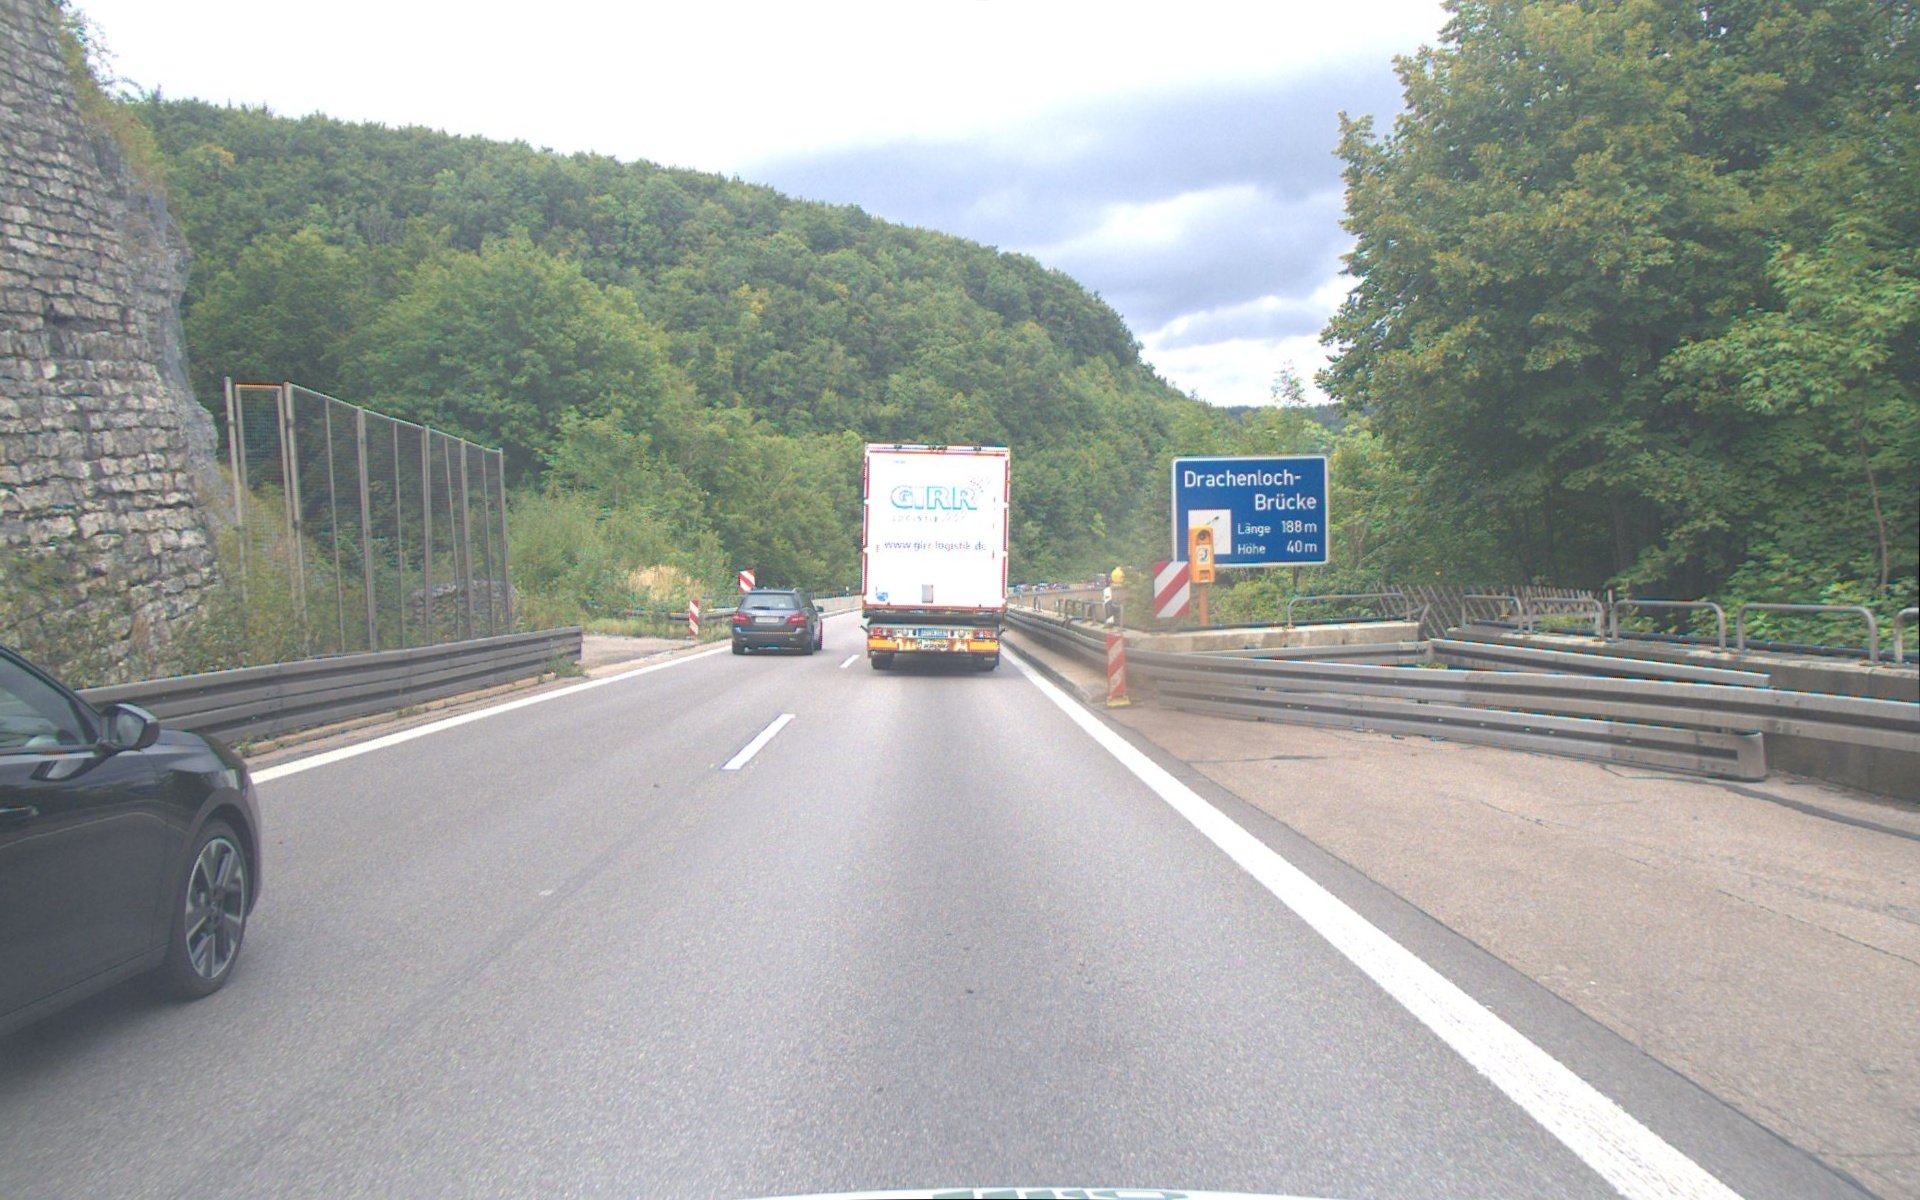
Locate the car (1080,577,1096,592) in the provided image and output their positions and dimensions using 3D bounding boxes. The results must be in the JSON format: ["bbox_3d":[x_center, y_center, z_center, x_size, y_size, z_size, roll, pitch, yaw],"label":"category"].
[{"bbox_3d":[18.629,-2.293,240.520,1.951,2.116,4.003,0,-1,9],"label":"car"}]

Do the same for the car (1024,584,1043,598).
[{"bbox_3d":[9.372,-1.121,211.510,1.951,1.713,4.003,0,-1,9],"label":"car"}]

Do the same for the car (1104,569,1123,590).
[{"bbox_3d":[23.708,-3.130,254.909,2.314,3.018,6.857,0,-1,11],"label":"car"}]

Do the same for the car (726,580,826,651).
[{"bbox_3d":[-4.191,0.345,38.347,1.845,1.536,4.418,0,0,0],"label":"car"}]

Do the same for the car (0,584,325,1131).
[{"bbox_3d":[-3.474,0.694,4.538,1.737,1.486,4.581,0,0,-1],"label":"car"}]

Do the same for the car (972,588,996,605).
[{"bbox_3d":[2.542,-0.389,173.757,1.951,1.713,4.003,0,-1,9],"label":"car"}]

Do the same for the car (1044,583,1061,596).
[{"bbox_3d":[13.094,-1.499,233.271,1.951,1.713,4.003,0,-1,9],"label":"car"}]

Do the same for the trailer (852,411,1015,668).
[{"bbox_3d":[-0.551,-1.025,34.385,2.756,4.378,12.242,0,0,-1],"label":"trailer"}]
